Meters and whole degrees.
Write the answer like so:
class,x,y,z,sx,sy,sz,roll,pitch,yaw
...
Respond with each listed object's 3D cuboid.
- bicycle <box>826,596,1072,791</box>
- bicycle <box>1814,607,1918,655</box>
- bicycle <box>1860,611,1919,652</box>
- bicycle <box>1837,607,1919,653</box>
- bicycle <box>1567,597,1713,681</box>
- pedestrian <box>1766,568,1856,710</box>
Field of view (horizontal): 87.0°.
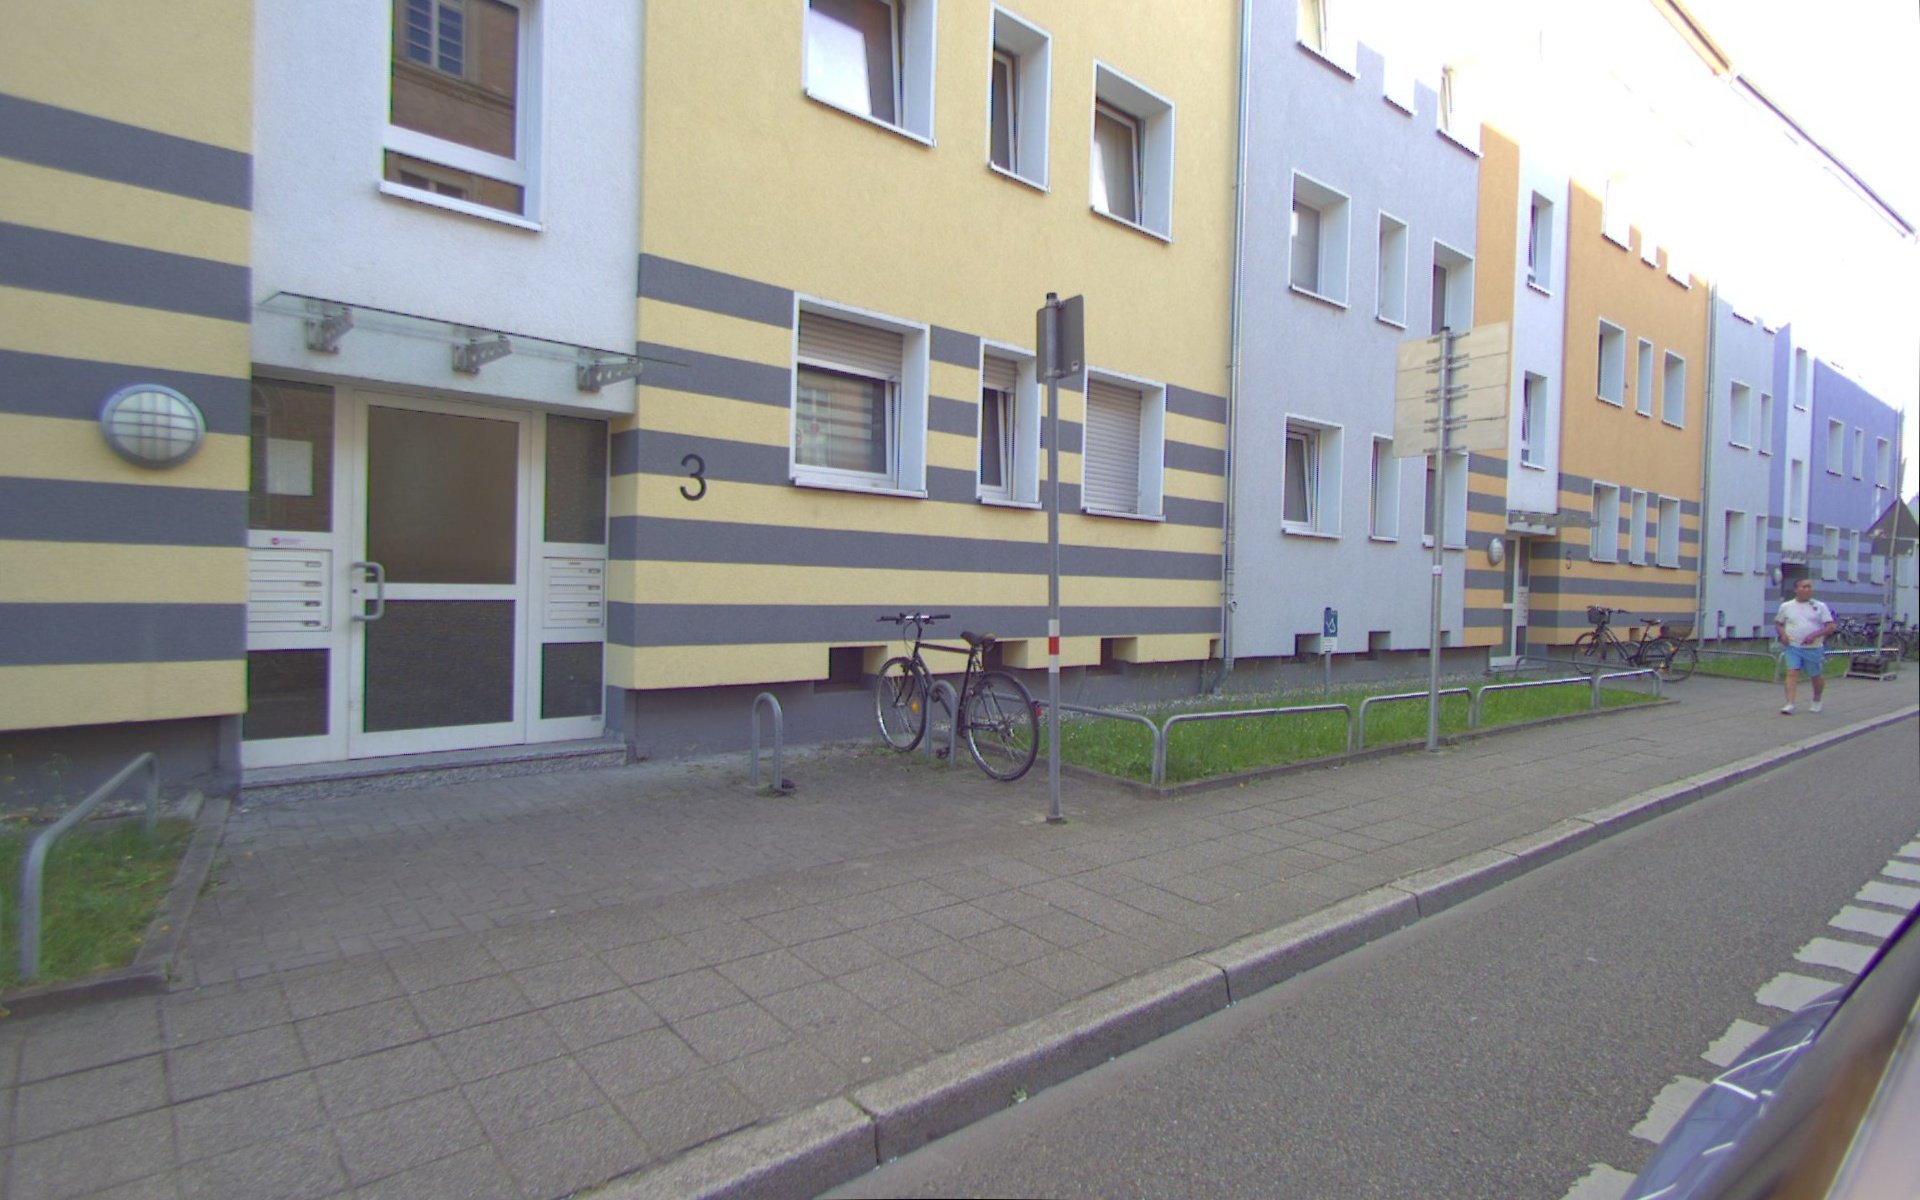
class,x,y,z,sx,sy,sz,roll,pitch,yaw
bicycle,-0.130,0.564,6.930,1.773,1.061,0.574,5,4,45
bicycle,22.181,0.748,24.811,0.572,1.007,1.779,1,3,-33
bicycle,24.047,0.808,25.589,0.572,0.950,1.779,1,3,-33
bicycle,23.344,0.752,25.481,0.572,1.007,1.779,1,3,-33
bicycle,10.683,0.580,15.953,0.574,1.138,1.775,0,4,-42
pedestrian,10.634,0.460,12.649,0.819,1.692,0.644,1,2,-39
